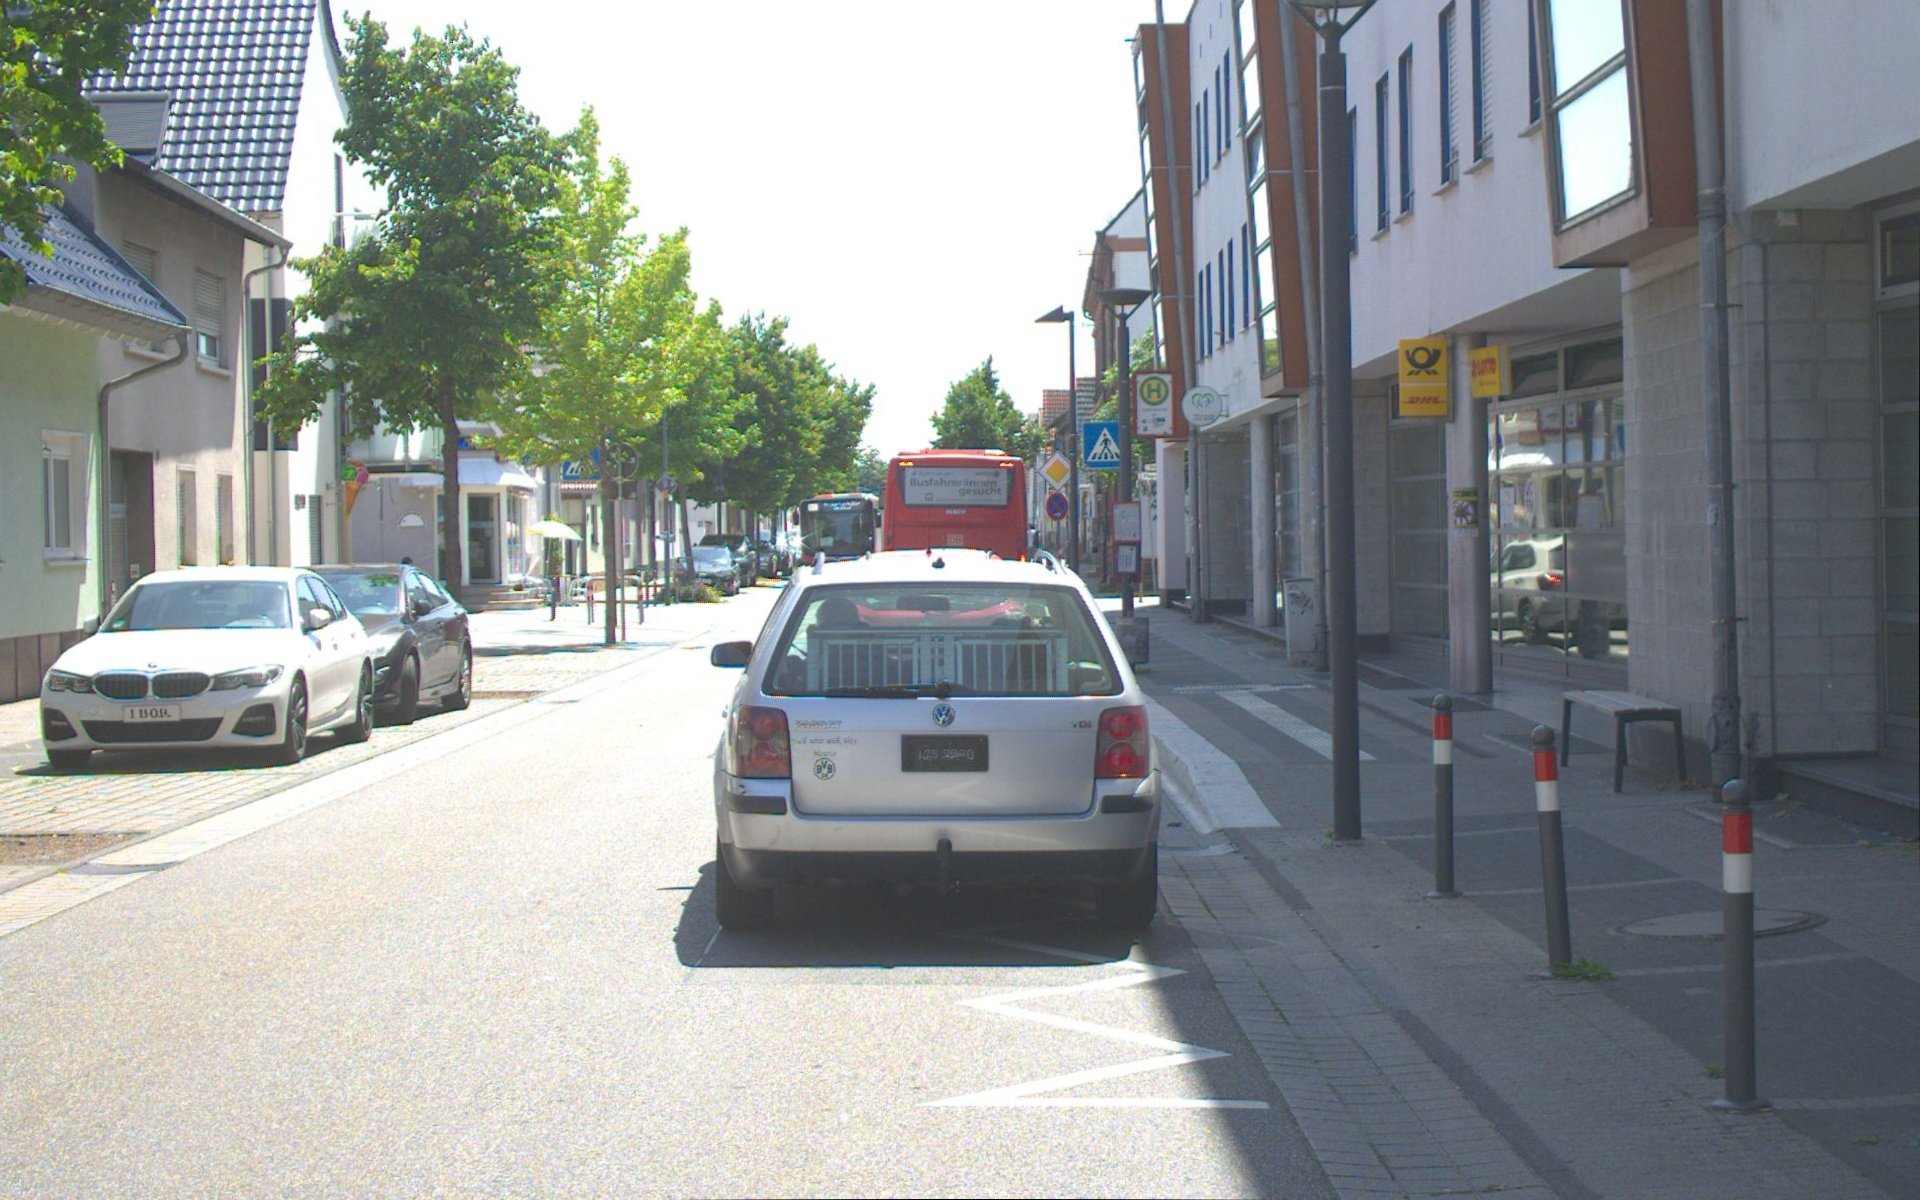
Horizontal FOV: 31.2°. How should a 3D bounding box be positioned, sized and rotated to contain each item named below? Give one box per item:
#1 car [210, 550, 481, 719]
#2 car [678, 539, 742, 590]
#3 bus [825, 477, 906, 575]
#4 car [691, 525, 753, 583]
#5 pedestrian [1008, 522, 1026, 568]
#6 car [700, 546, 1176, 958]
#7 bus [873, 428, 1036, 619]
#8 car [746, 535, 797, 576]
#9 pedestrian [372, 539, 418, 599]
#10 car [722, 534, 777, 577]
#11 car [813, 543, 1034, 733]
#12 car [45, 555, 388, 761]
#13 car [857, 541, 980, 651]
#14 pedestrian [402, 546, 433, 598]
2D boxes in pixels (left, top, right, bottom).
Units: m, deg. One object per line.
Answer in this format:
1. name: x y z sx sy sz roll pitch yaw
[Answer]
1. car: -5.647 0.269 32.085 1.660 1.432 4.538 -1 1 1
2. car: -7.322 -1.057 100.773 1.605 1.433 4.065 -1 1 -1
3. bus: -3.578 -2.851 126.060 2.668 3.112 17.811 -1 3 -2
4. car: -7.781 -1.516 112.637 1.764 1.831 3.789 -1 1 -1
5. pedestrian: 2.109 -2.038 127.239 0.606 1.661 0.789 -1 1 -2
6. car: -0.091 0.521 14.253 1.677 1.425 3.680 2 1 0
7. bus: -0.259 -1.415 65.588 2.740 3.287 12.706 0 1 -2
8. car: -7.333 -1.745 133.938 1.811 1.553 4.000 -1 1 -1
9. pedestrian: -12.483 -0.684 75.999 0.634 1.284 0.789 1 1 -43
10. car: -7.806 -1.671 127.777 1.811 1.553 4.000 -1 1 -1
11. car: -0.290 0.263 28.171 1.677 1.425 3.680 1 1 0
12. car: -5.644 0.383 26.624 1.720 1.432 4.460 0 1 0
13. car: -0.543 -0.080 47.382 1.593 1.425 3.679 1 1 1
14. pedestrian: -12.221 -0.633 77.383 0.622 1.175 0.697 -1 1 -4
